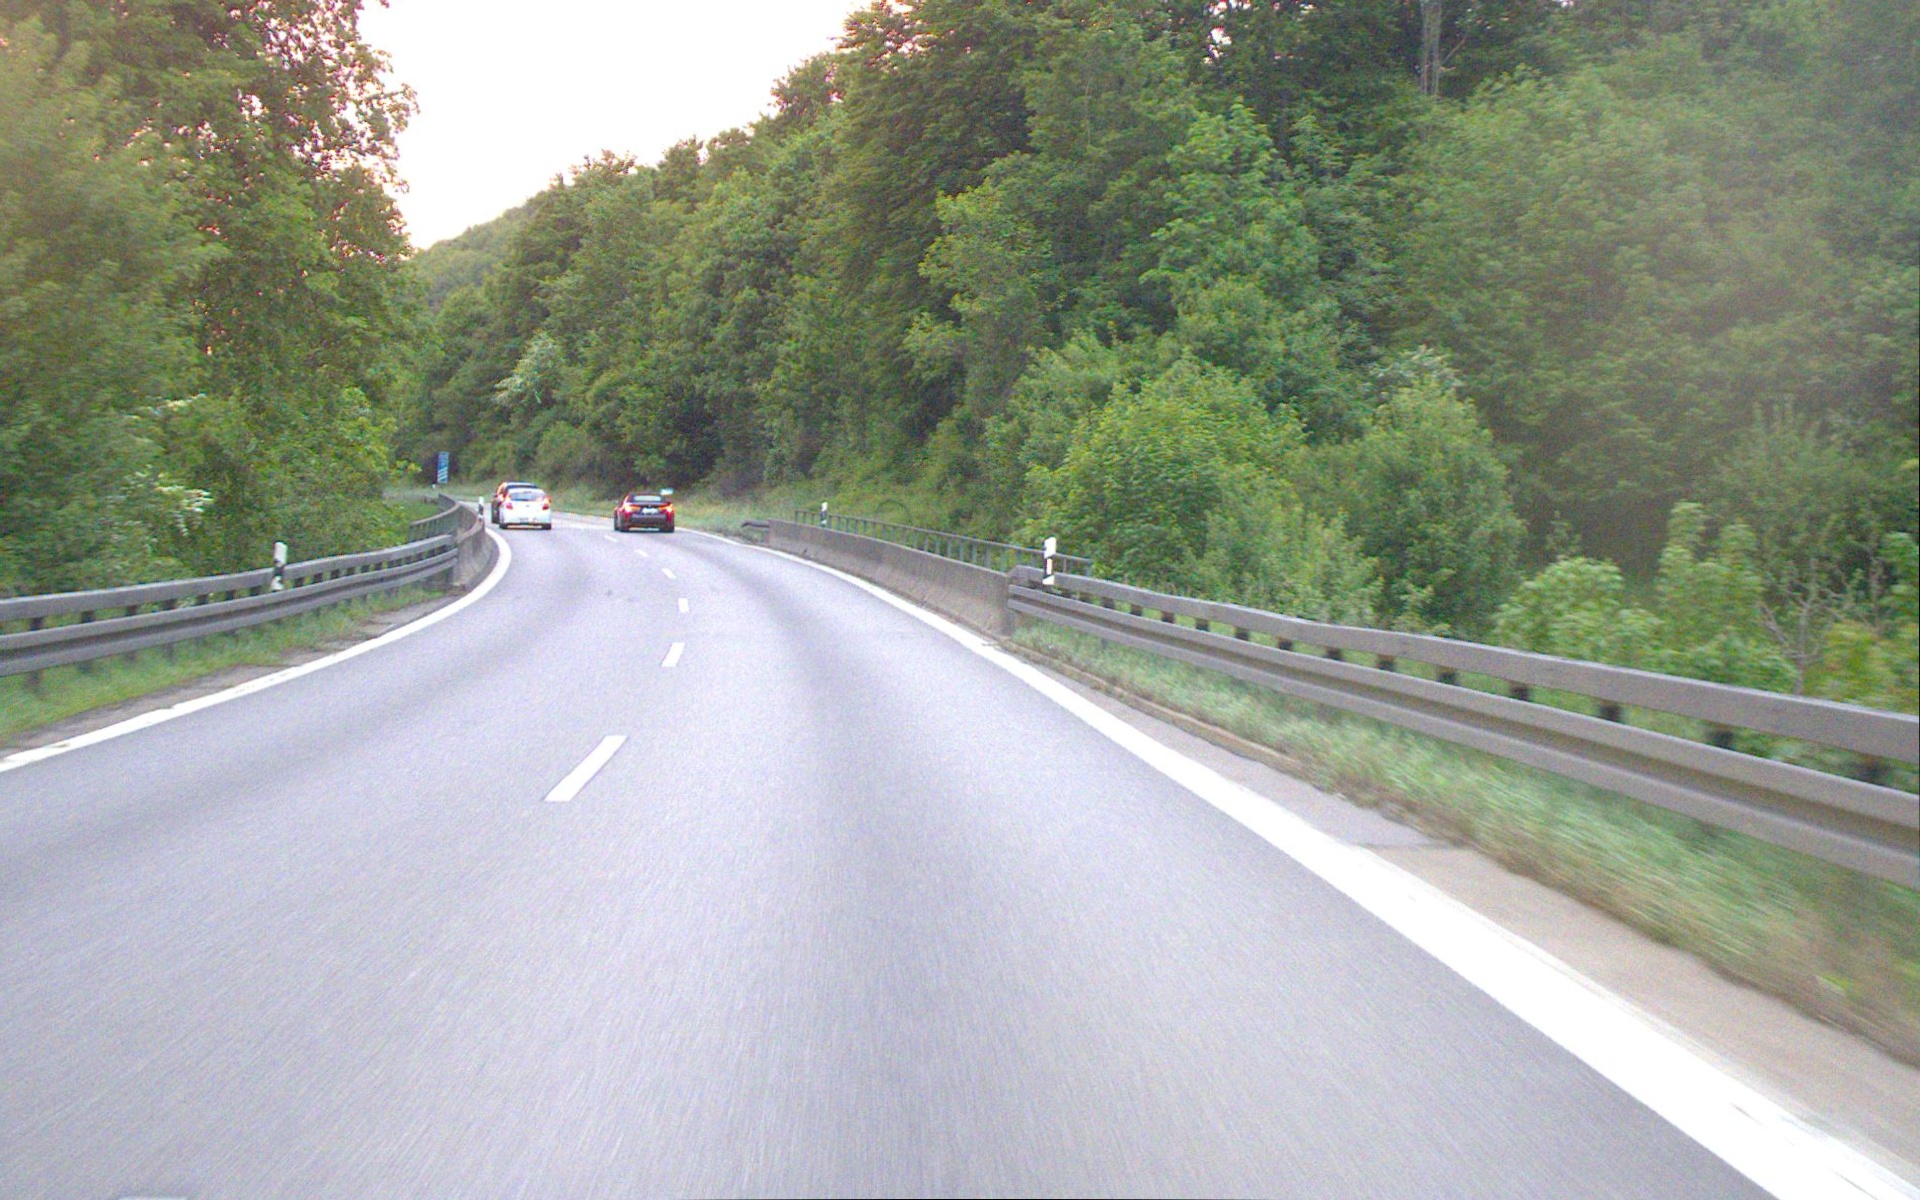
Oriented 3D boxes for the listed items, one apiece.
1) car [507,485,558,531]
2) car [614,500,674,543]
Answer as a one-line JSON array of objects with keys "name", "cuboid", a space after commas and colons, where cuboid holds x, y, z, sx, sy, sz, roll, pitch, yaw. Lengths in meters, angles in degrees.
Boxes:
[{"name": "car", "cuboid": [-15.420, -3.319, 124.113, 1.718, 1.496, 4.001, 2, 0, -6]}, {"name": "car", "cuboid": [-11.227, -2.784, 122.202, 1.878, 1.461, 4.000, 0, 1, -2]}]
